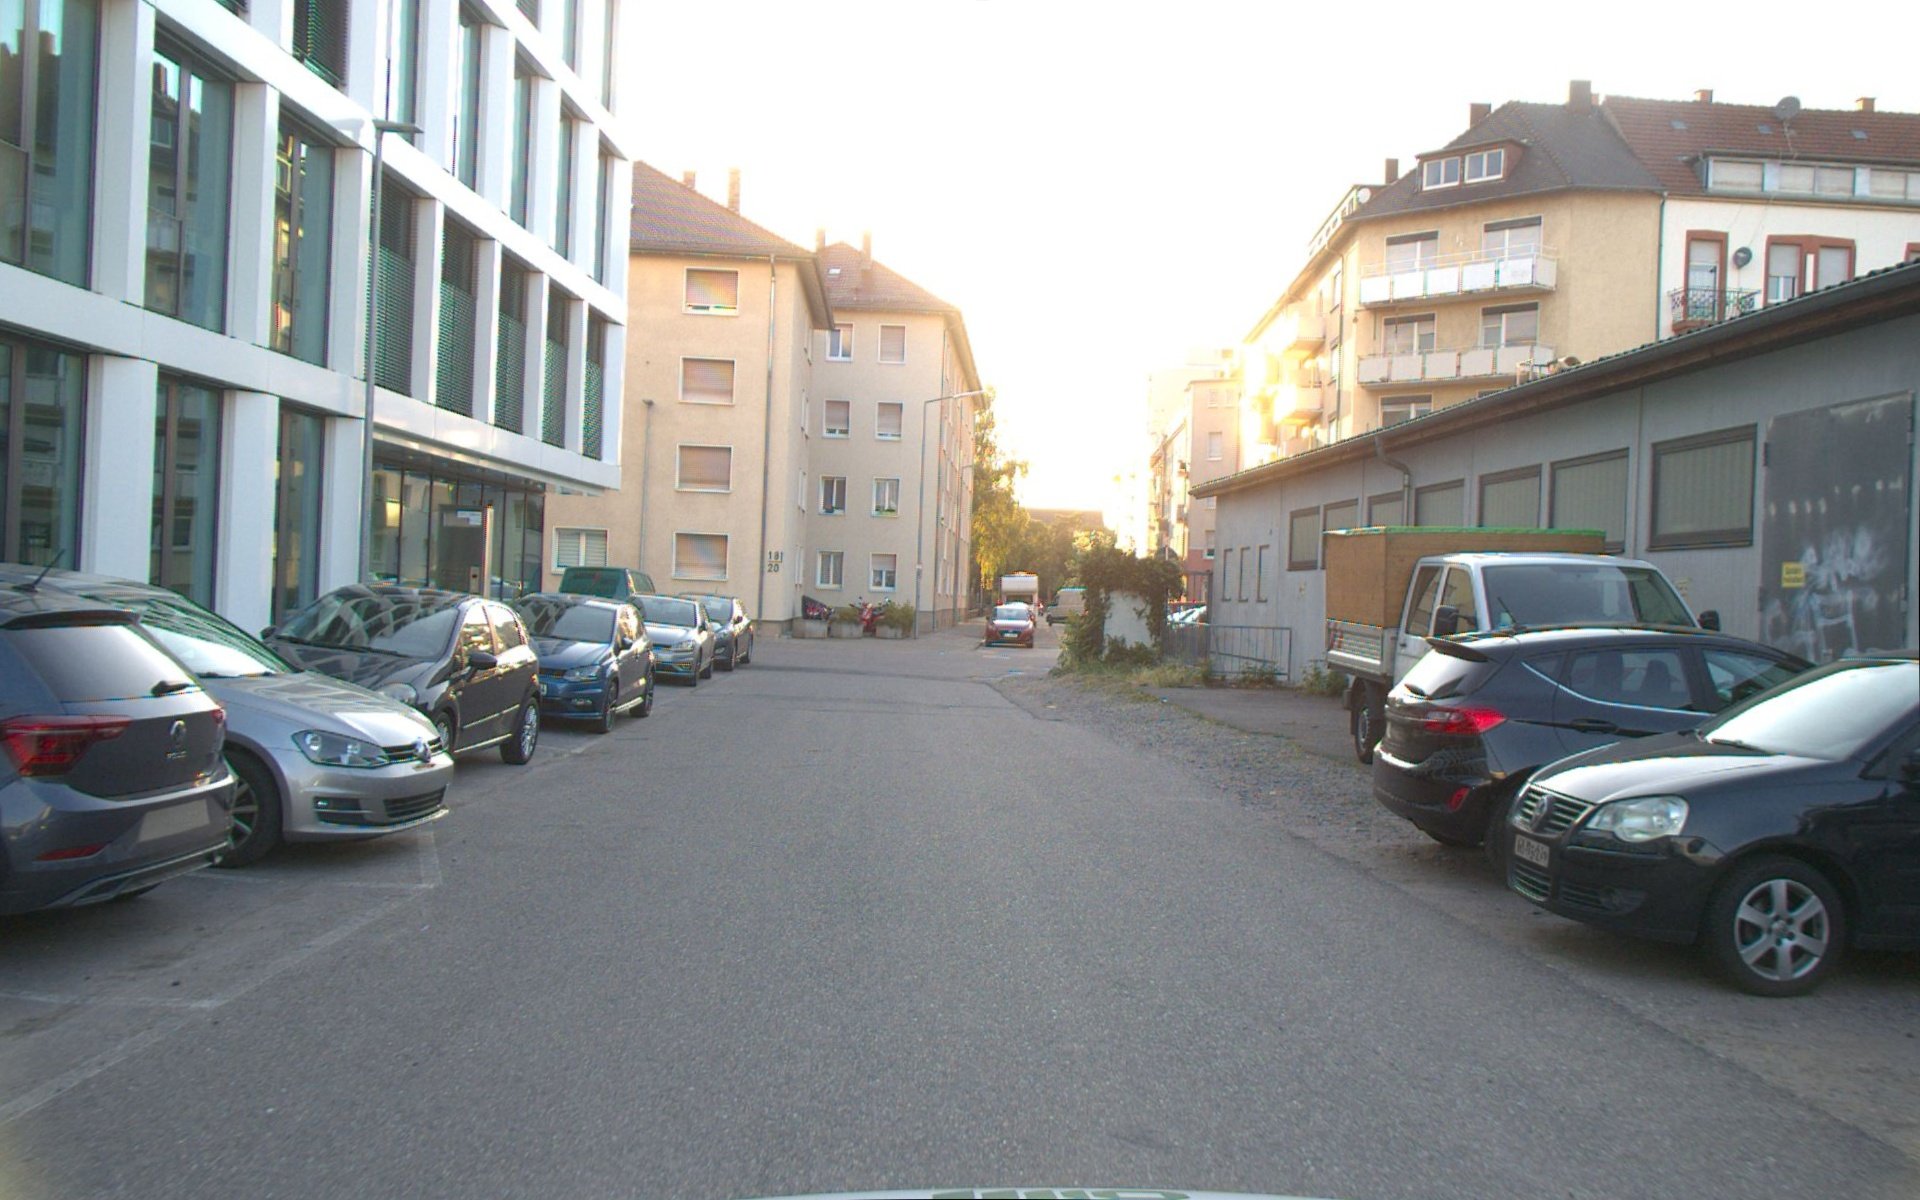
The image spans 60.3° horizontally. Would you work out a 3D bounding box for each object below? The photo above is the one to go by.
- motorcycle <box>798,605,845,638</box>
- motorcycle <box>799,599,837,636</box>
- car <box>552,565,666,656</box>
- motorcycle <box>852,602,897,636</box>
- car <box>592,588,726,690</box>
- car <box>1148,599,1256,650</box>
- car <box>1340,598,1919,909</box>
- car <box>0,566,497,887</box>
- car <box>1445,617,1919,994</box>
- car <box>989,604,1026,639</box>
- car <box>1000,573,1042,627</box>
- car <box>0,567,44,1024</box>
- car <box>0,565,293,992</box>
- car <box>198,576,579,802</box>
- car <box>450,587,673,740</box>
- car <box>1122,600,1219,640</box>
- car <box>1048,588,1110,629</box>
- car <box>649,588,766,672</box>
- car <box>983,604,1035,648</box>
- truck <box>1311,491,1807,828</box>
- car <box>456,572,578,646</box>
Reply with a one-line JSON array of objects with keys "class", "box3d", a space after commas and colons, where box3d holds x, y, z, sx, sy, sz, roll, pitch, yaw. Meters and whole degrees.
[{"class": "motorcycle", "box3d": [-4.756, 0.744, 56.902, 0.709, 1.098, 2.080, 2, 0, 23]}, {"class": "motorcycle", "box3d": [-5.084, 0.627, 59.196, 0.708, 1.287, 2.082, 2, 0, 13]}, {"class": "car", "box3d": [-8.398, 0.213, 39.975, 1.761, 2.014, 4.688, 2, 1, -1]}, {"class": "motorcycle", "box3d": [-3.052, 0.687, 59.365, 0.675, 1.180, 2.032, 2, 0, 26]}, {"class": "car", "box3d": [-5.208, 0.630, 29.087, 1.677, 1.504, 4.182, 6, 0, -3]}, {"class": "car", "box3d": [9.872, 1.004, 67.710, 4.190, 1.893, 1.742, 2, -1, 3]}, {"class": "car", "box3d": [4.422, 0.880, 10.182, 3.682, 1.562, 1.891, 3, 1, 0]}, {"class": "car", "box3d": [-4.907, 0.630, 9.627, 3.845, 1.537, 1.688, 3, 0, 2]}, {"class": "car", "box3d": [4.416, 0.918, 7.734, 3.684, 1.469, 1.844, 3, -1, -2]}, {"class": "car", "box3d": [2.116, 0.941, 74.147, 1.582, 1.499, 3.505, 0, 0, 1]}, {"class": "car", "box3d": [3.962, 0.021, 106.755, 2.565, 3.326, 7.699, 0, 0, 3]}, {"class": "car", "box3d": [-5.004, 0.565, 4.890, 3.579, 1.537, 1.688, 3, 0, 1]}, {"class": "car", "box3d": [-5.016, 0.585, 7.049, 3.579, 1.537, 1.688, 3, 0, 1]}, {"class": "car", "box3d": [-4.588, 0.641, 13.983, 1.615, 1.463, 4.202, 6, 0, 0]}, {"class": "car", "box3d": [-4.589, 0.669, 19.643, 1.615, 1.463, 4.183, 6, 0, -2]}, {"class": "car", "box3d": [10.422, 0.984, 82.075, 4.624, 1.943, 2.059, 0, -1, 2]}, {"class": "car", "box3d": [8.131, 0.581, 113.853, 2.103, 2.765, 4.791, 1, 0, -27]}, {"class": "car", "box3d": [-5.293, 0.598, 35.150, 1.744, 1.504, 4.330, 6, 0, -1]}, {"class": "car", "box3d": [1.791, 0.935, 61.320, 1.807, 1.499, 4.078, 2, 0, 1]}, {"class": "truck", "box3d": [4.727, 0.414, 14.220, 2.055, 2.239, 5.710, 2, 0, -1]}, {"class": "car", "box3d": [-10.613, 0.269, 39.906, 1.743, 1.577, 4.329, 2, -2, -1]}]
